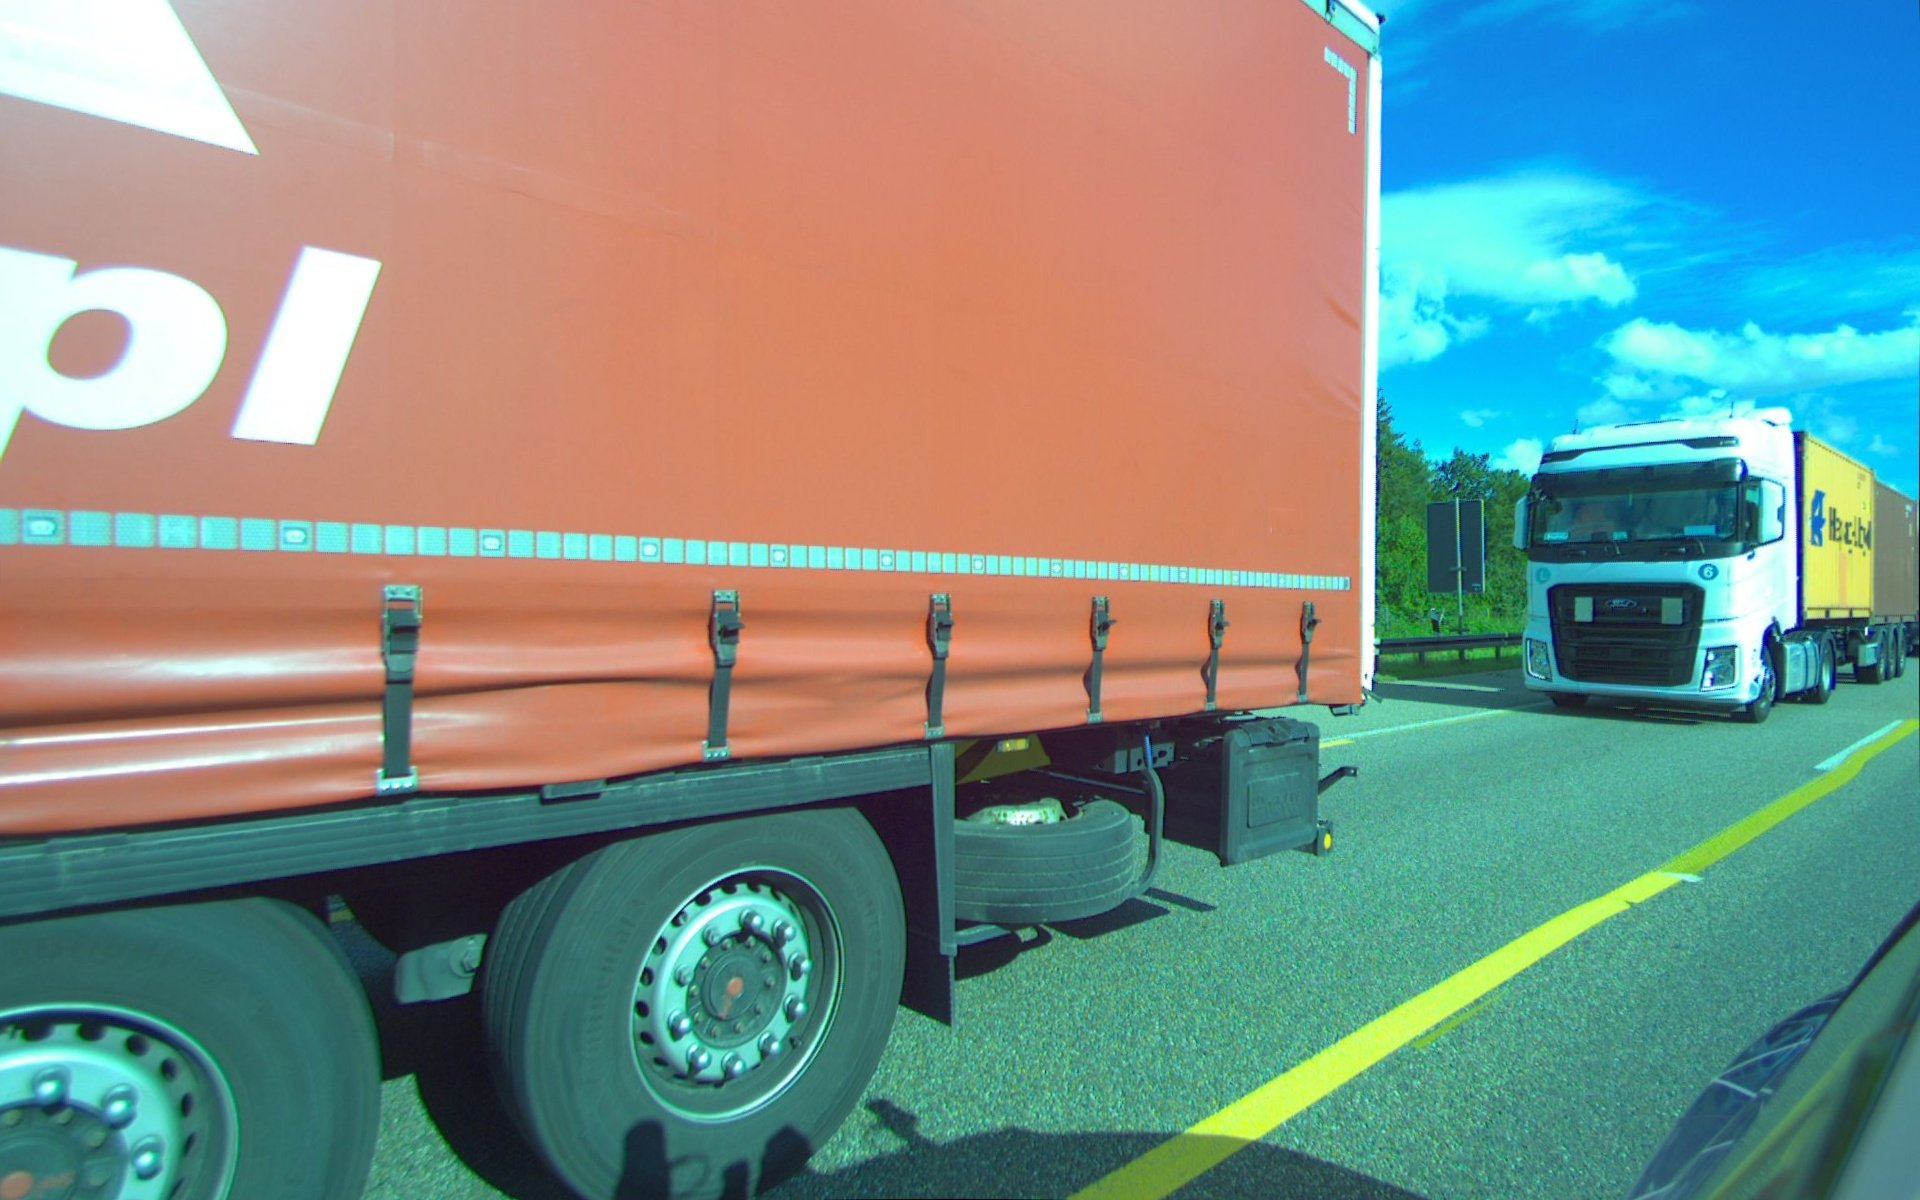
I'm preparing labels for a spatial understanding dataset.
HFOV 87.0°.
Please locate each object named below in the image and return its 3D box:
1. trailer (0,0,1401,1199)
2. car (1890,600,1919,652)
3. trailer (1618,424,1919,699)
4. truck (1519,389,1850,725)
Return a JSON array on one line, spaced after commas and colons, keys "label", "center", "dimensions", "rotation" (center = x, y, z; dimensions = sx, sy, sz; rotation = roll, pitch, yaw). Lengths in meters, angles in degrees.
[{"label": "trailer", "center": [-3.940, -0.528, 0.933], "dimensions": [13.185, 4.019, 2.704], "rotation": [0, 0, -42]}, {"label": "car", "center": [28.378, 0.726, 29.079], "dimensions": [4.399, 1.367, 1.932], "rotation": [-1, 1, -41]}, {"label": "trailer", "center": [15.687, -0.548, 18.861], "dimensions": [11.921, 3.823, 2.476], "rotation": [0, 0, -41]}, {"label": "truck", "center": [10.402, -0.520, 14.332], "dimensions": [5.687, 3.828, 2.499], "rotation": [0, 0, -40]}]
